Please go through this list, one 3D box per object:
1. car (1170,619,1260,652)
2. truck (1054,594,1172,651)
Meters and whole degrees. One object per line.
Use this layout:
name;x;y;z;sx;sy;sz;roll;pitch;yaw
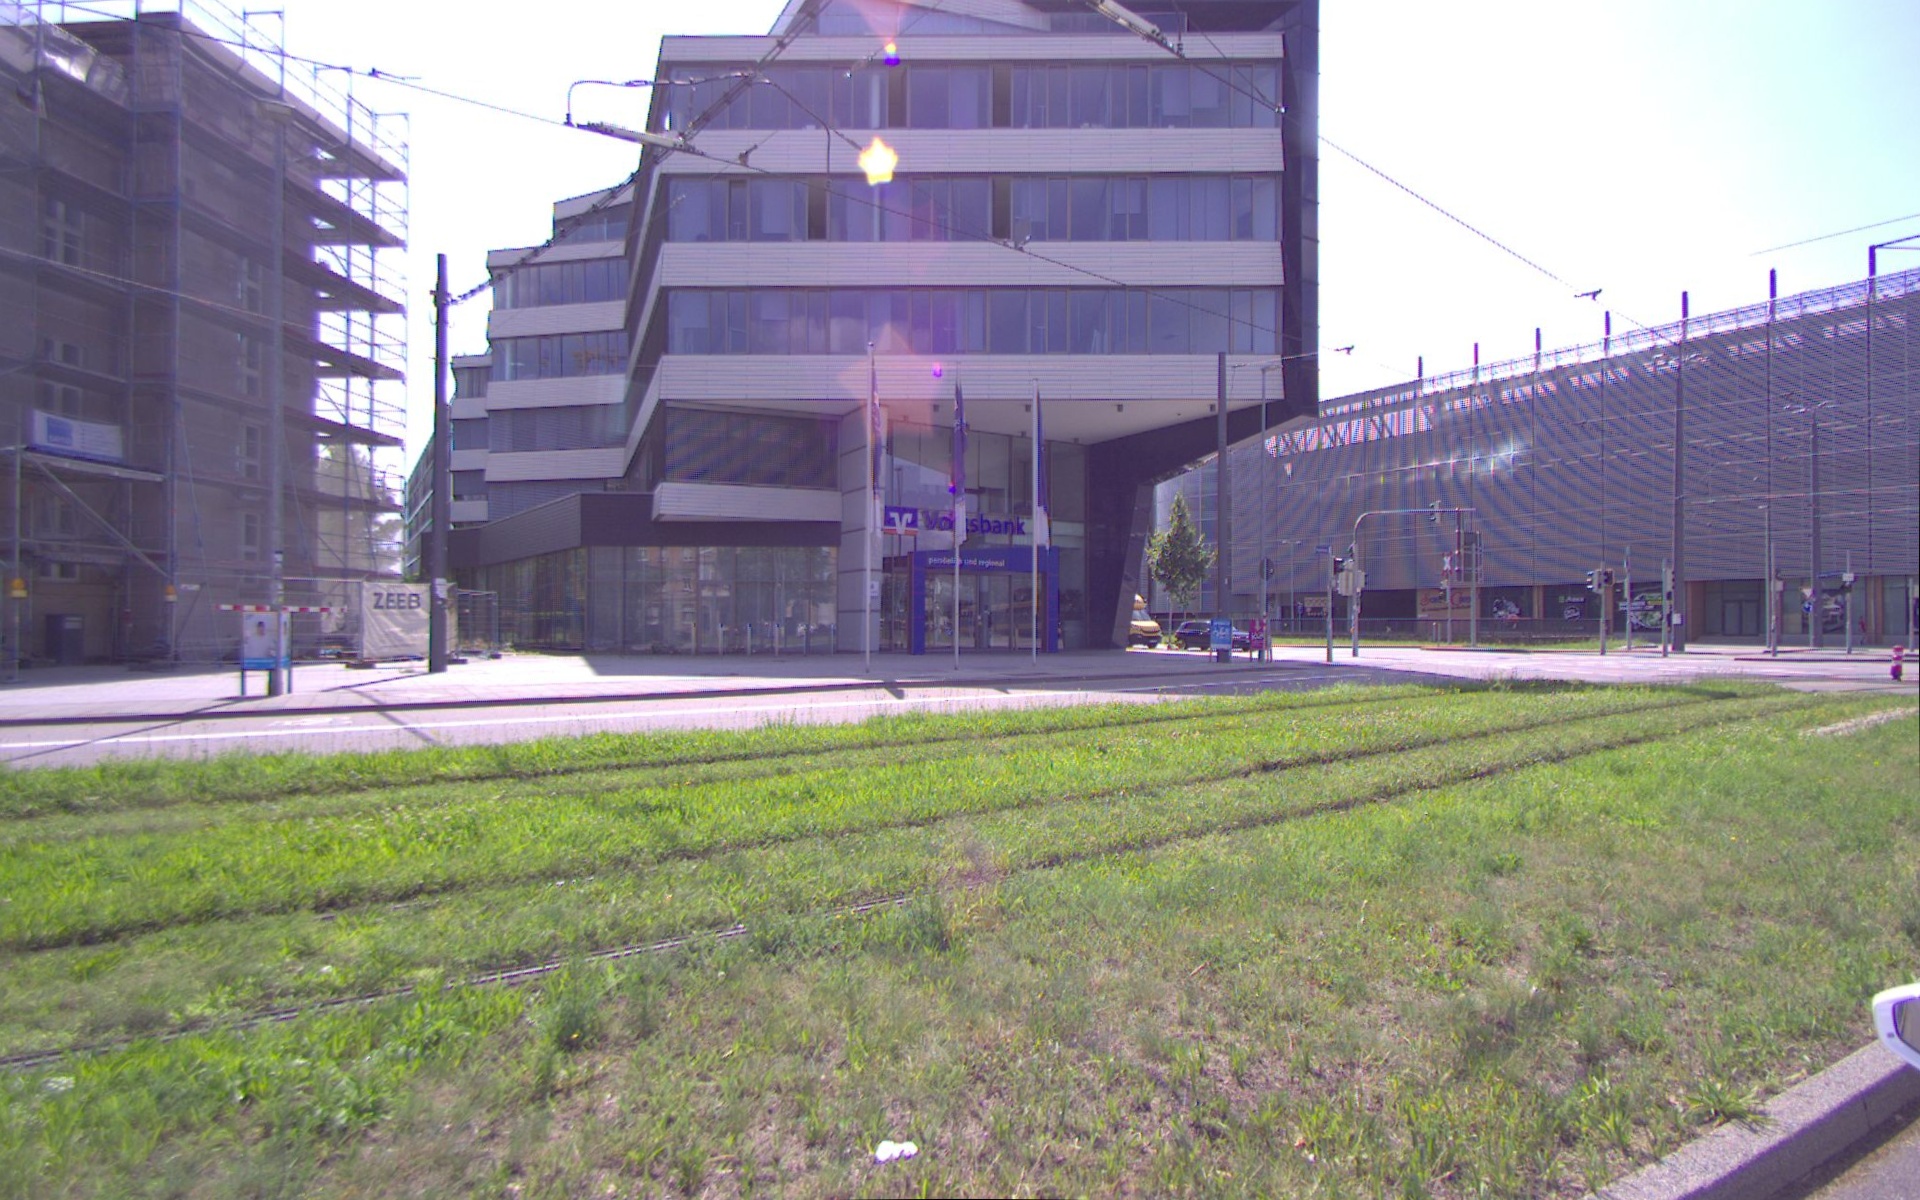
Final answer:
car;12.126;1.660;48.028;1.807;1.488;4.076;1;-1;-32
truck;8.127;1.182;54.294;2.421;2.866;6.807;1;-1;-33
